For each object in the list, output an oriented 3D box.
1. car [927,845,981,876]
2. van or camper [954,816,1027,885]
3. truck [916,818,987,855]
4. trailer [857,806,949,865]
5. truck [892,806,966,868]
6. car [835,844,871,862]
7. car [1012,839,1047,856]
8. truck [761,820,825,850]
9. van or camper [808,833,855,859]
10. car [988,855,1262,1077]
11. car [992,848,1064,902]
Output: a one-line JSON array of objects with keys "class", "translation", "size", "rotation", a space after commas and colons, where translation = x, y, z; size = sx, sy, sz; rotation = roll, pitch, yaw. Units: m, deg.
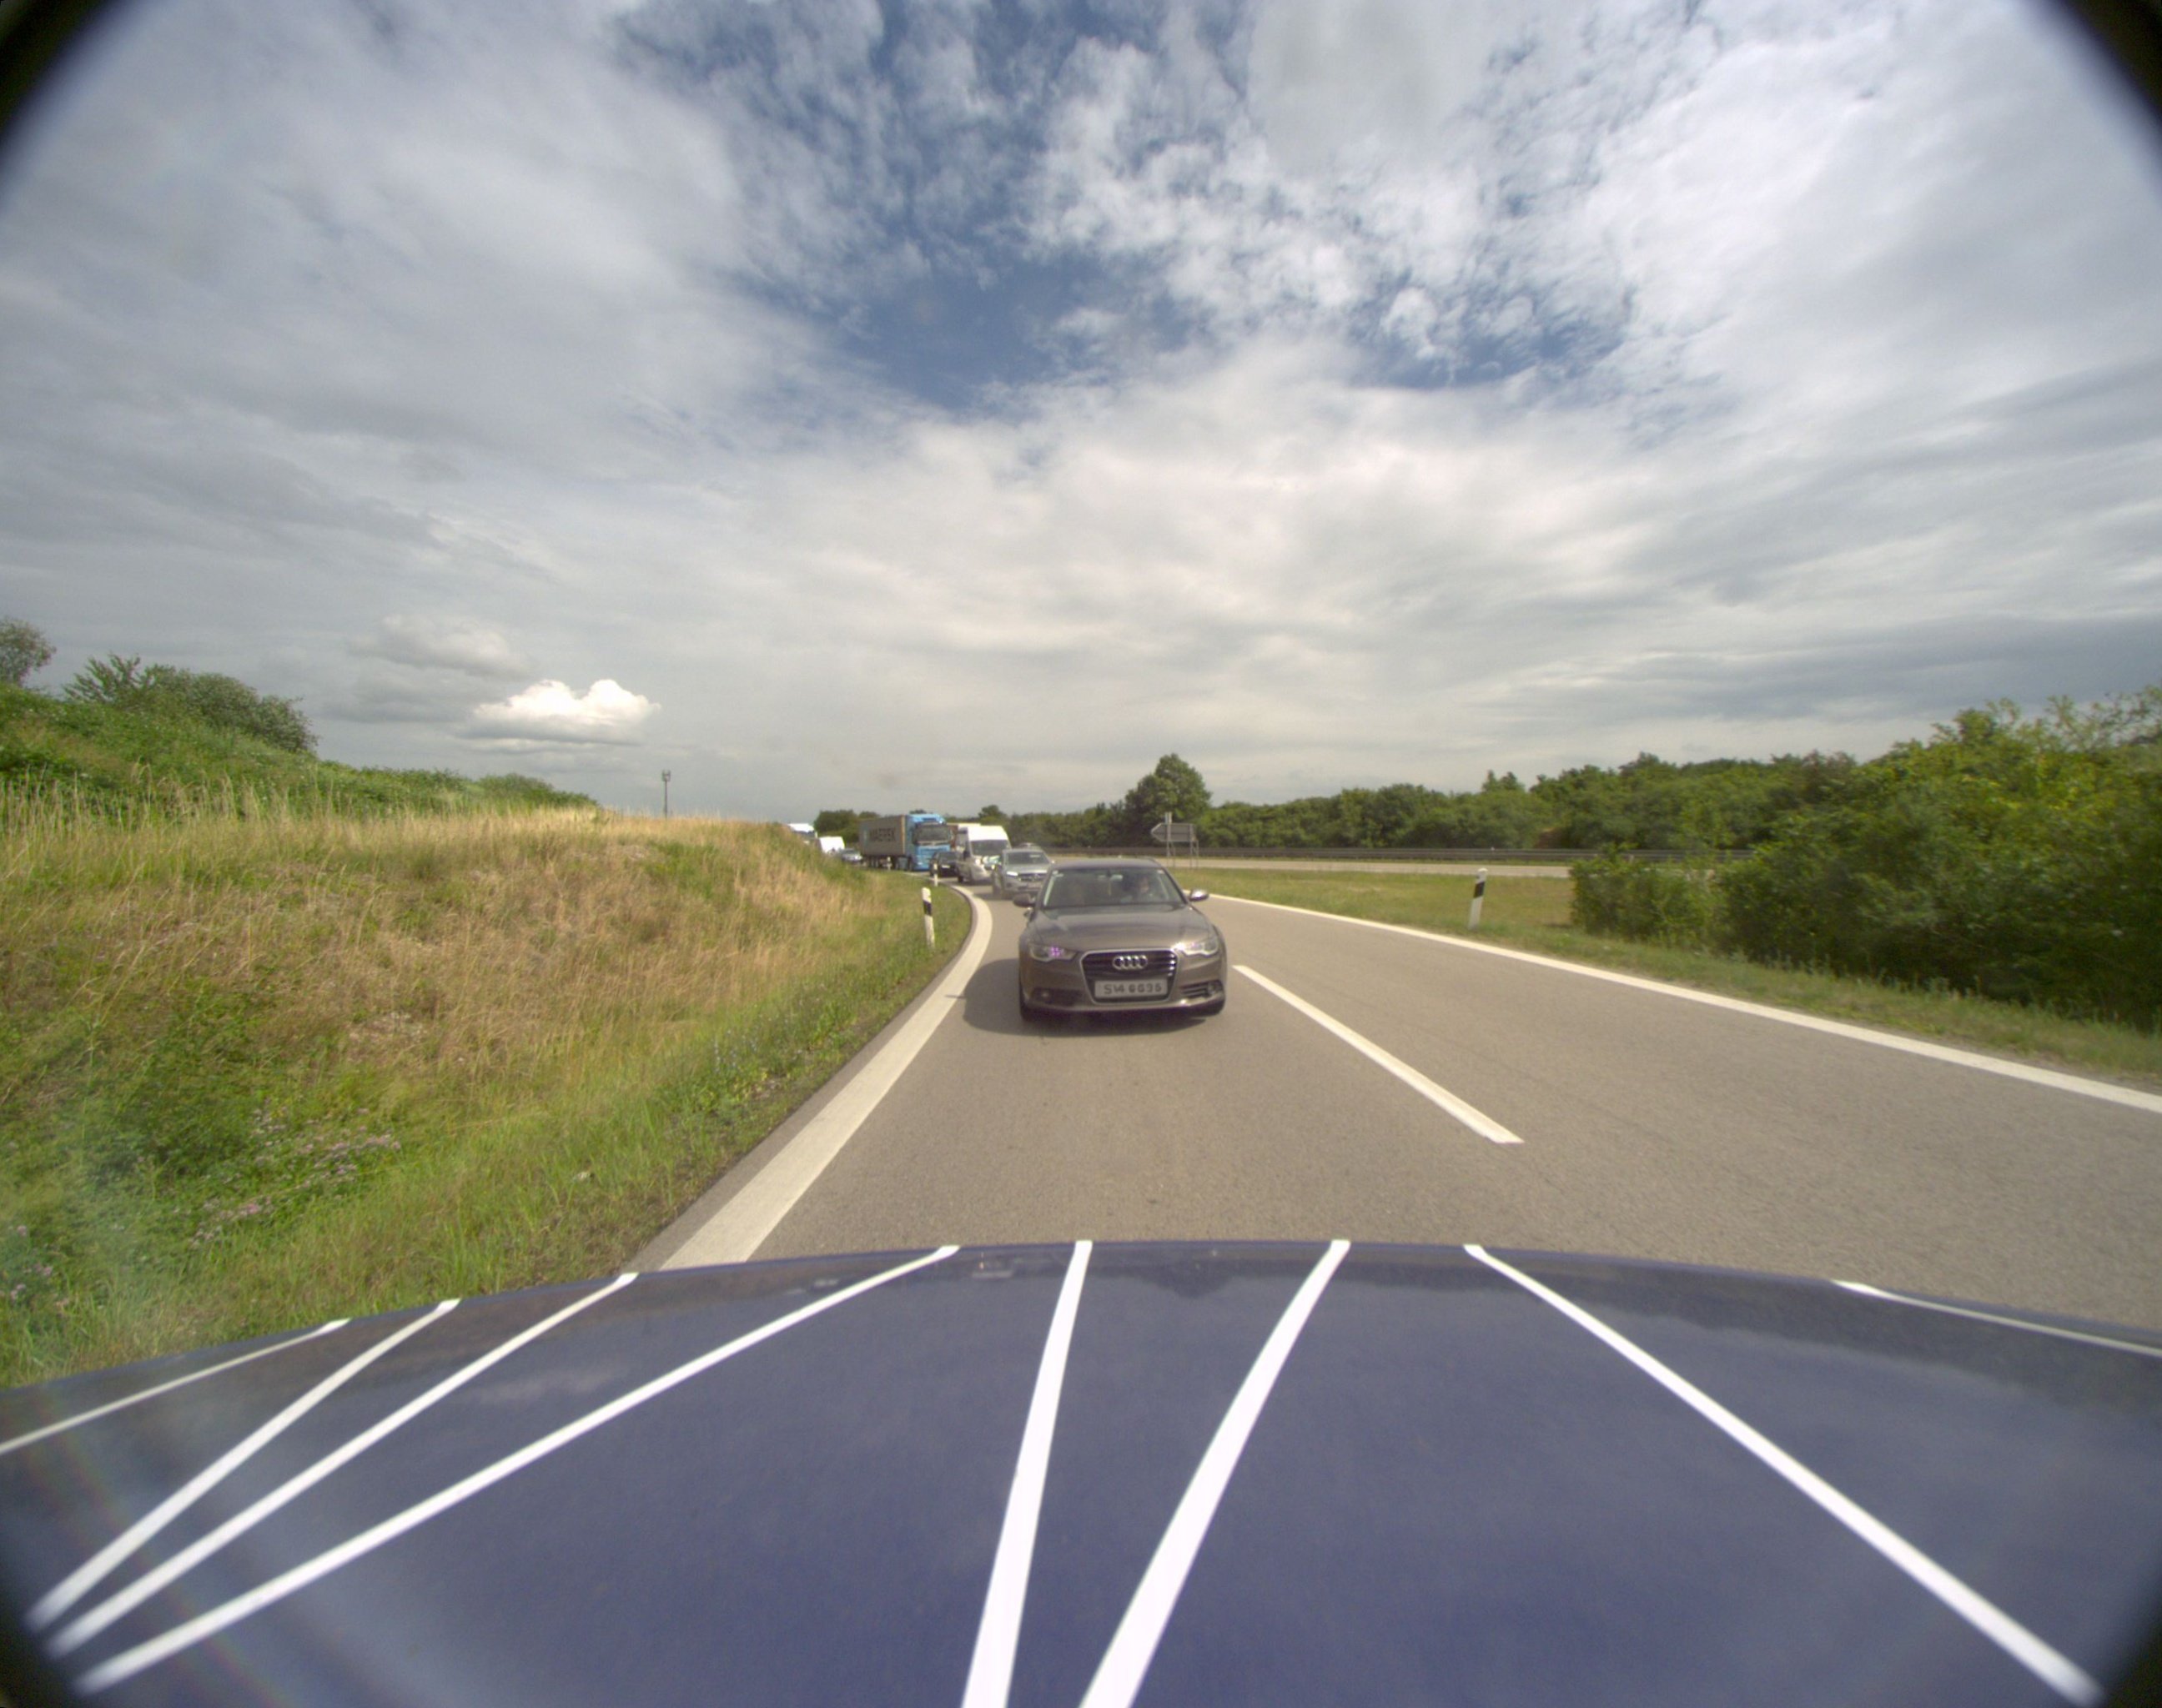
[{"class": "car", "translation": [-7.347, 0.334, 43.715], "size": [2.002, 1.609, 3.991], "rotation": [-2, 2, -25]}, {"class": "van or camper", "translation": [-4.361, -0.187, 35.514], "size": [2.401, 2.892, 5.712], "rotation": [-3, 1, -16]}, {"class": "truck", "translation": [-13.379, -1.775, 77.644], "size": [2.898, 3.567, 8.920], "rotation": [-3, 3, -40]}, {"class": "trailer", "translation": [-14.217, -1.298, 59.647], "size": [3.281, 4.138, 11.988], "rotation": [-3, 1, -31]}, {"class": "truck", "translation": [-10.869, -1.137, 53.853], "size": [3.184, 4.050, 6.631], "rotation": [-3, 1, -28]}, {"class": "car", "translation": [-20.964, -0.104, 69.816], "size": [2.003, 1.521, 3.988], "rotation": [-3, 3, -35]}, {"class": "car", "translation": [-6.001, -0.716, 88.574], "size": [1.848, 1.862, 4.195], "rotation": [-3, 2, -41]}, {"class": "truck", "translation": [-33.038, -2.155, 86.816], "size": [3.131, 3.221, 11.128], "rotation": [-3, 2, -40]}, {"class": "van or camper", "translation": [-24.626, -0.828, 74.864], "size": [2.558, 2.200, 5.692], "rotation": [-4, 5, -37]}, {"class": "car", "translation": [0.205, 0.826, 7.894], "size": [1.999, 1.506, 4.536], "rotation": [-2, 1, -3]}, {"class": "car", "translation": [-1.878, 0.635, 25.689], "size": [1.844, 1.587, 4.168], "rotation": [-1, 1, -12]}]
